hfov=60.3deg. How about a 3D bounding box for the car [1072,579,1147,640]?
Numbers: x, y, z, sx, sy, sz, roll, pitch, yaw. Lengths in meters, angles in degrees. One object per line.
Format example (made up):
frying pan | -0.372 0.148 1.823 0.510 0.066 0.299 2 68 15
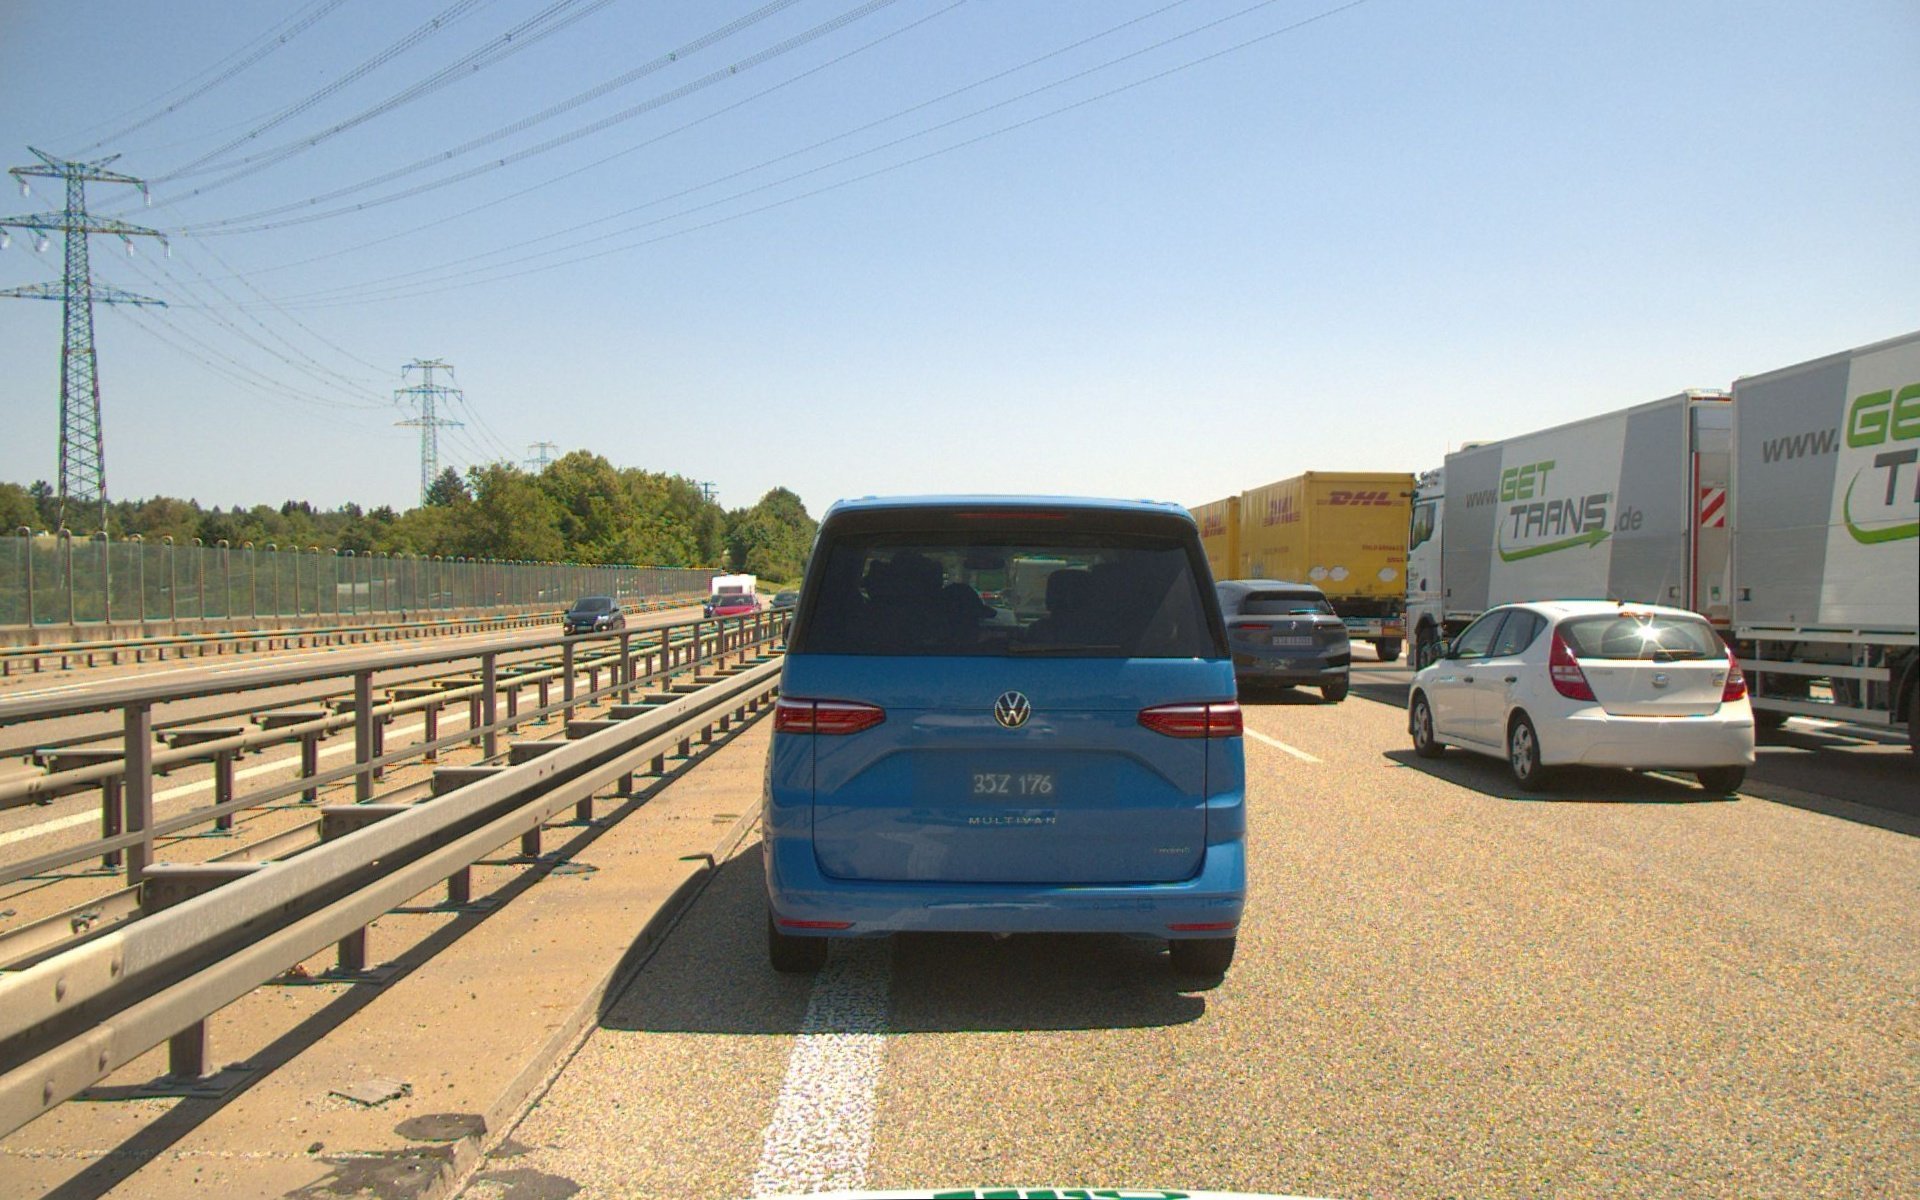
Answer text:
car | 4.701 0.273 52.359 1.953 1.847 3.999 0 0 -1

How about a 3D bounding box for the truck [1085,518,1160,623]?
truck | 7.358 -1.288 75.594 2.613 4.562 6.848 1 0 -1

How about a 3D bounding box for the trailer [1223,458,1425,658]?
trailer | 8.656 -0.907 40.579 2.806 4.313 9.009 1 0 -1

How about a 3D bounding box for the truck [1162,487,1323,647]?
truck | 8.367 -0.912 50.607 2.778 4.317 11.008 1 0 -1

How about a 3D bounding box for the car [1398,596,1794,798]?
car | 5.295 0.715 14.430 1.752 1.481 4.292 0 0 -1

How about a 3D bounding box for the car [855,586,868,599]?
car | -14.925 -1.140 250.462 1.829 1.729 4.429 0 2 -2

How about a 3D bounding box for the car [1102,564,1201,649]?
car | 4.736 0.141 41.459 1.922 2.028 4.292 0 0 -1

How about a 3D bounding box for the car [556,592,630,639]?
car | -12.960 0.515 58.662 1.695 1.517 4.418 -2 0 -1

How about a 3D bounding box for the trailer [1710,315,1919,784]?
trailer | 9.046 -0.401 12.884 2.643 3.765 8.013 0 0 -1

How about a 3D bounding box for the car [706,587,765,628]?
car | -8.944 0.271 66.115 1.755 1.503 3.988 -3 0 -1

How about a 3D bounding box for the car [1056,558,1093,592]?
car | 7.055 -1.543 102.423 1.953 2.049 4.460 -1 0 -1

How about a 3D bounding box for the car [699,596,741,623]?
car | -13.768 0.519 95.080 1.739 1.432 4.681 -2 0 -1

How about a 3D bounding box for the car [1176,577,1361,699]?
car | 4.518 0.515 24.850 1.922 1.673 4.292 0 0 -1

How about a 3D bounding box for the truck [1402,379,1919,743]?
truck | 8.859 -0.435 22.392 2.603 3.711 11.008 0 0 -1

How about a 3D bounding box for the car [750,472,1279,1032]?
car | 0.167 0.520 7.705 1.783 1.890 4.074 1 0 -1

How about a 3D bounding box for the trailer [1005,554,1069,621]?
trailer | 3.700 -0.571 81.812 2.517 3.042 10.661 1 0 -1

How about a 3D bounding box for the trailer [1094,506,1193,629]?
trailer | 7.414 -1.267 68.206 2.583 4.595 11.299 1 0 -1

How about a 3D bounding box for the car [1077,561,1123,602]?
car | 7.194 -0.915 85.331 1.953 2.049 3.999 1 0 -1

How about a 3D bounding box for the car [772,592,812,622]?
car | -8.988 0.374 88.701 1.634 1.473 4.000 -3 0 0

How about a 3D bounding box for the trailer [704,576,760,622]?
trailer | -13.848 -0.089 100.826 2.442 2.593 6.773 -2 0 -1
